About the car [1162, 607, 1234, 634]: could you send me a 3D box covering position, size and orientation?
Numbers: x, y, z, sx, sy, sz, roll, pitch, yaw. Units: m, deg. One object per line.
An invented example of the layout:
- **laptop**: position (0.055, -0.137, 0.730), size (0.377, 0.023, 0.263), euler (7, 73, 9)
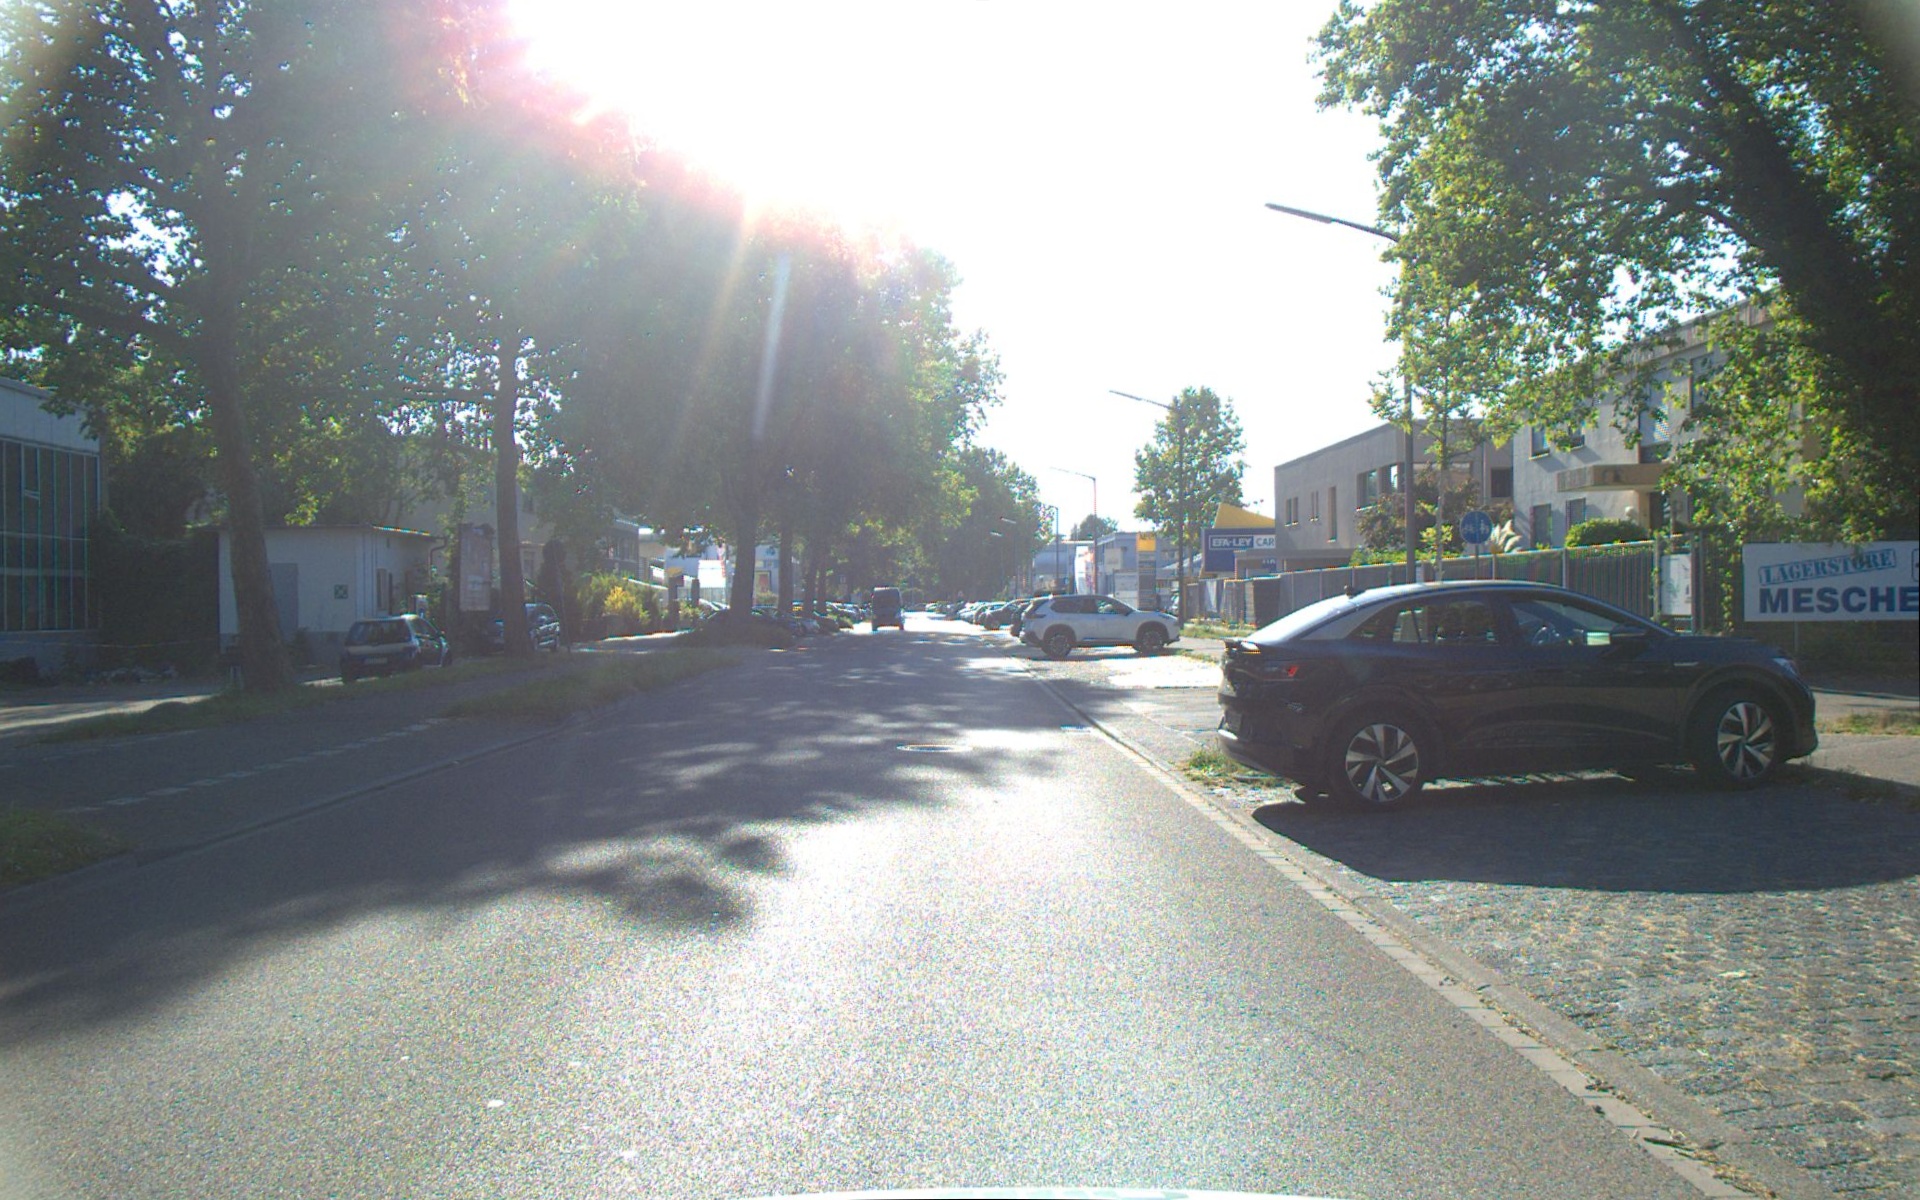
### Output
- **car**: position (14.174, 1.219, 98.600), size (3.909, 1.546, 1.951), euler (1, -1, -6)

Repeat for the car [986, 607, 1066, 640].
- **car**: position (3.834, 1.357, 96.002), size (4.507, 1.607, 2.000), euler (-4, -1, 1)

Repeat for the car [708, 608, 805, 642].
- **car**: position (-9.223, 1.123, 75.204), size (4.267, 1.447, 1.999), euler (-1, 0, -4)

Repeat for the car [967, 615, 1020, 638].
- **car**: position (2.627, 2.084, 130.203), size (3.909, 1.615, 1.865), euler (-2, -1, -5)

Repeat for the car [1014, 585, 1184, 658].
- **car**: position (3.932, 0.605, 47.418), size (4.533, 1.741, 1.999), euler (-4, -1, -3)

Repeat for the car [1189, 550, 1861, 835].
- **car**: position (4.244, 0.657, 12.888), size (4.481, 1.745, 1.941), euler (-4, 0, -5)

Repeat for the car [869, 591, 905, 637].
- **car**: position (-4.554, 0.829, 104.103), size (2.084, 2.706, 7.000), euler (-1, 0, -1)

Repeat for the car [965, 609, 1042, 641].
- **car**: position (2.630, 1.529, 100.642), size (4.509, 1.641, 1.999), euler (-4, -1, -2)

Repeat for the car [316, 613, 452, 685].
- **car**: position (-13.106, 1.086, 37.878), size (1.956, 1.393, 3.916), euler (-5, 0, -6)

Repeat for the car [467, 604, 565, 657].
- **car**: position (-14.158, 0.950, 52.964), size (1.952, 1.603, 4.273), euler (1, -1, 0)

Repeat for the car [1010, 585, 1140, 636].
- **car**: position (4.237, 0.398, 61.404), size (4.533, 1.553, 1.999), euler (-4, -1, -3)

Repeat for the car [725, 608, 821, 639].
- **car**: position (-9.119, 1.152, 81.117), size (4.507, 1.447, 1.999), euler (-1, 0, -2)
